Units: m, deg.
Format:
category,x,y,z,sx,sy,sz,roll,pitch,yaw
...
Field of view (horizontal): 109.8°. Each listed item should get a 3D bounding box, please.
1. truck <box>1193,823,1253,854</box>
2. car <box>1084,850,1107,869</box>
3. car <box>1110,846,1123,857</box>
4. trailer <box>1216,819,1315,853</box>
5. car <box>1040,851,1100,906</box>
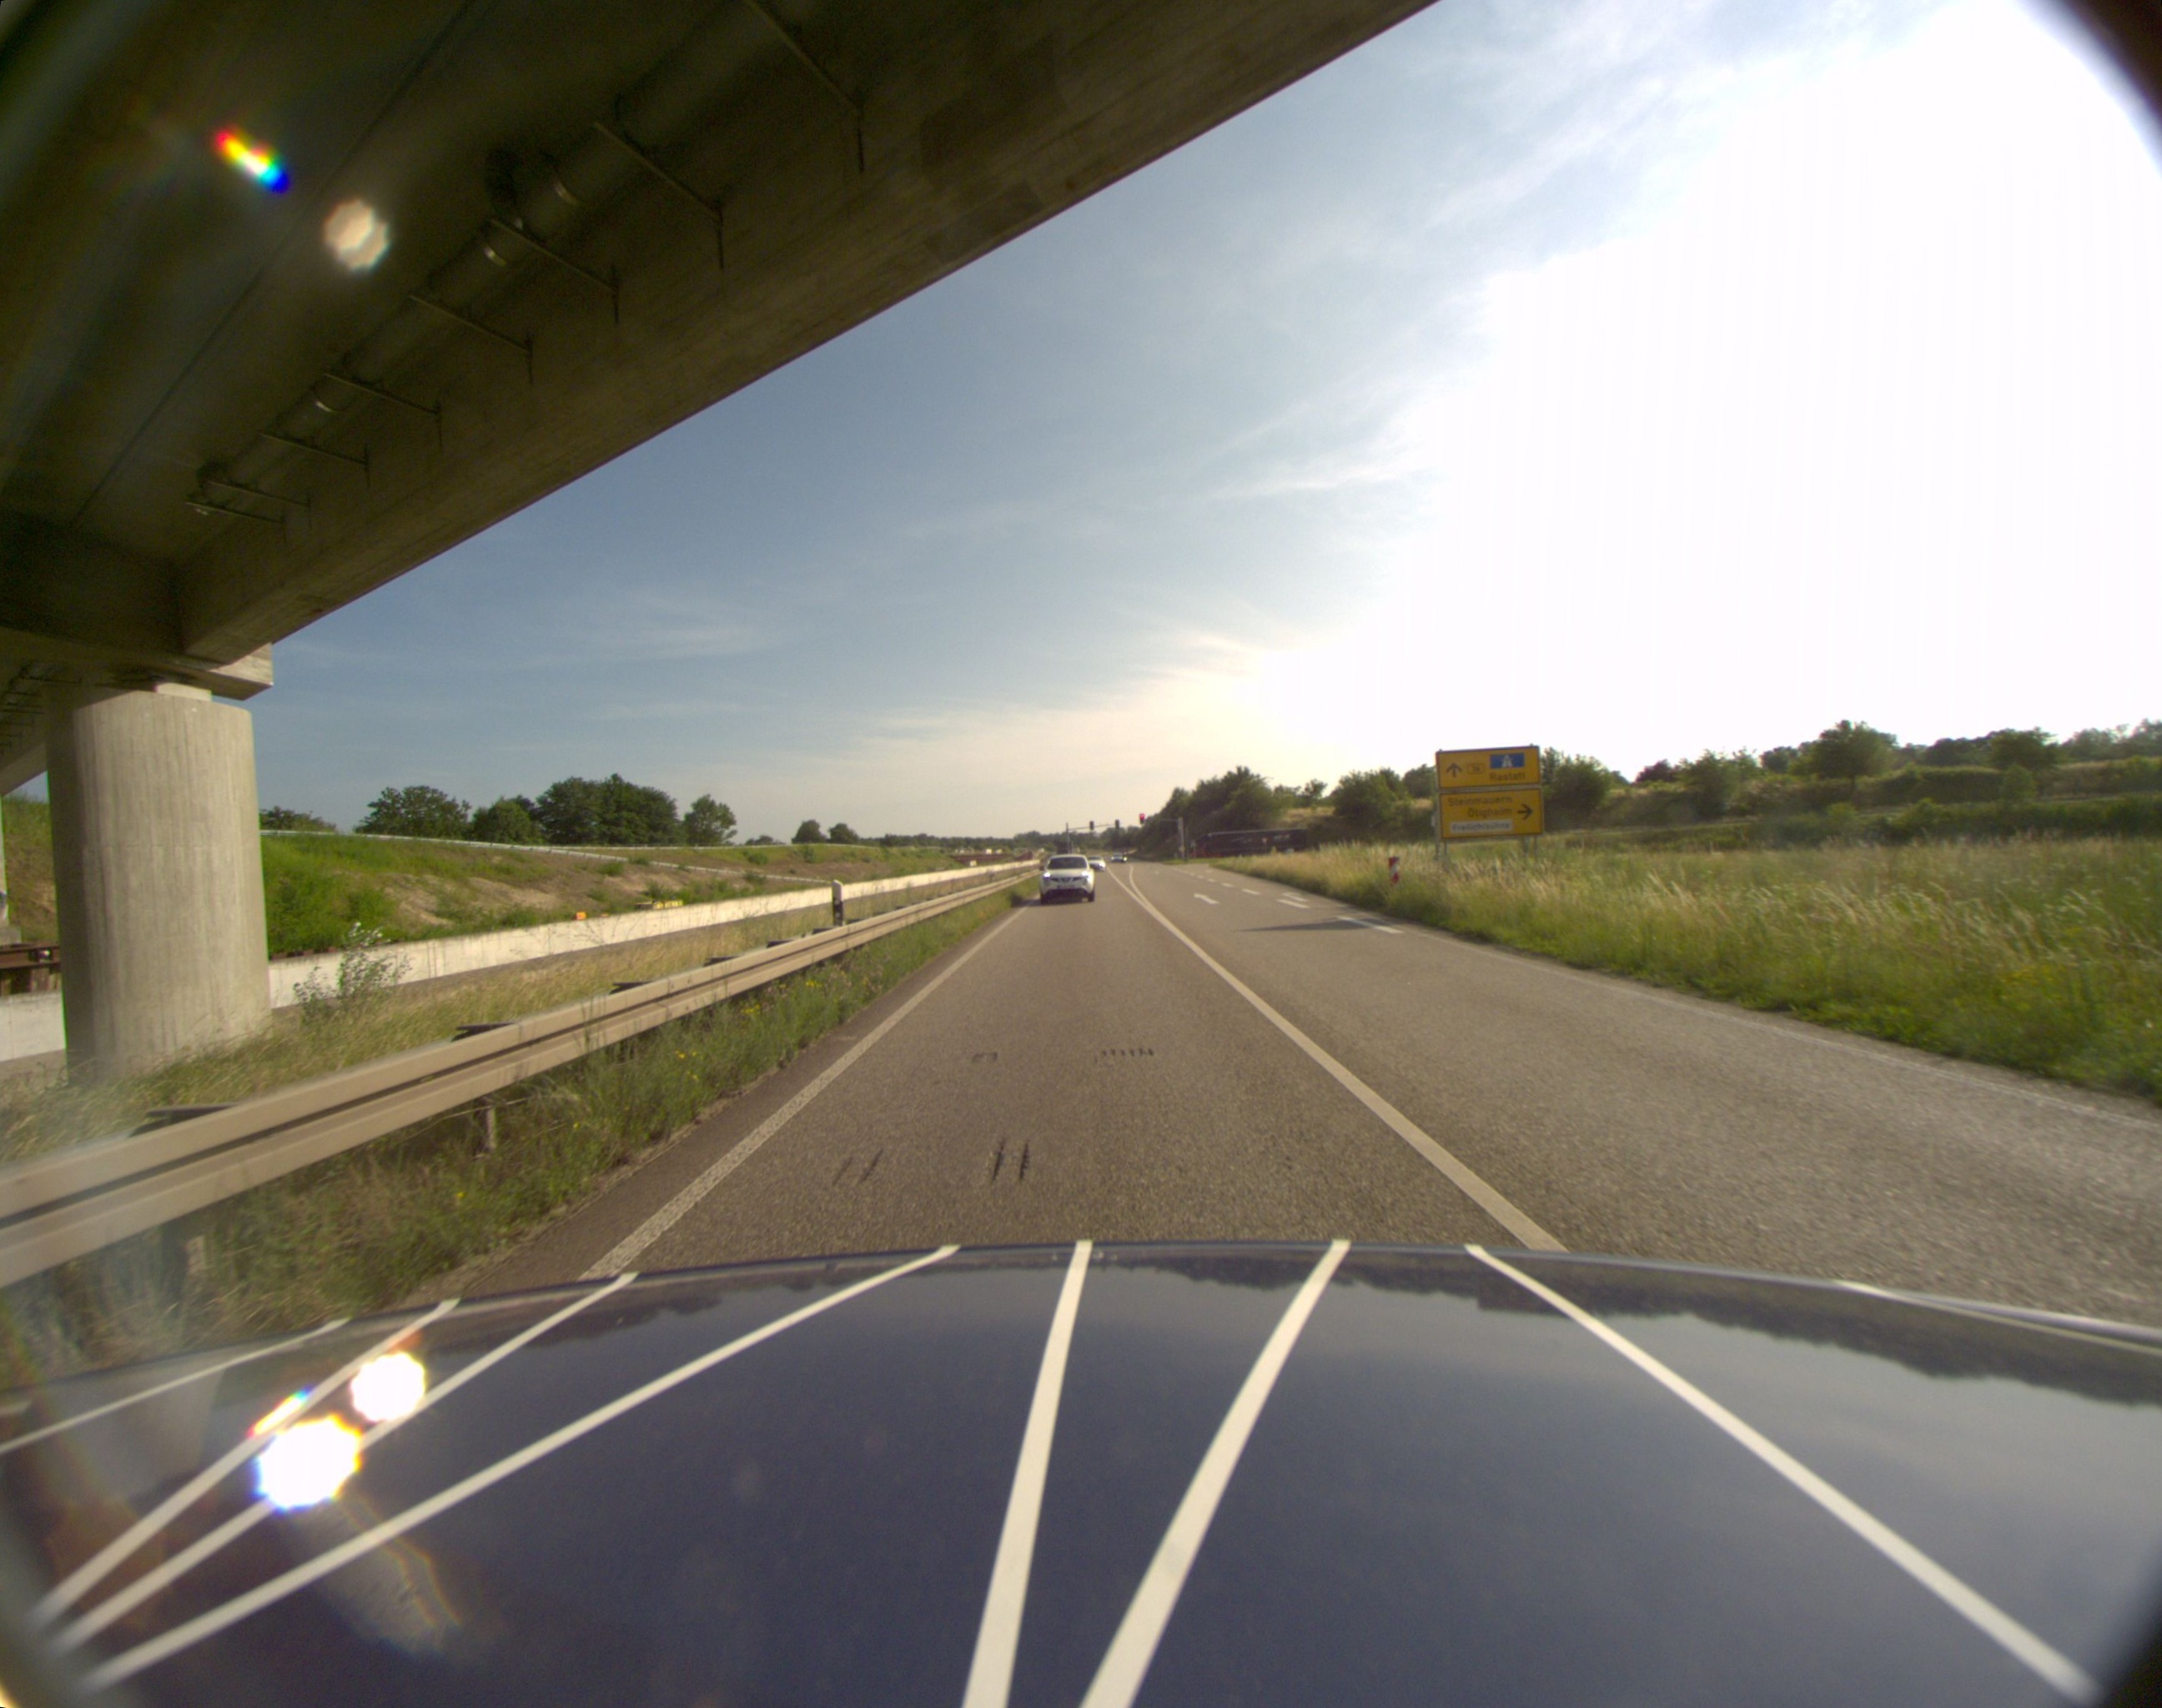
category,x,y,z,sx,sy,sz,roll,pitch,yaw
truck,20.914,-2.233,112.055,8.388,4.090,3.561,-3,1,11
car,1.268,0.450,68.080,1.908,1.512,4.464,-3,1,-1
car,5.884,-0.373,125.043,1.998,1.602,4.198,-3,1,5
trailer,26.781,-2.554,110.949,13.777,4.090,3.561,-3,1,11
car,-0.449,0.760,26.113,1.789,1.593,4.570,-3,1,-3
